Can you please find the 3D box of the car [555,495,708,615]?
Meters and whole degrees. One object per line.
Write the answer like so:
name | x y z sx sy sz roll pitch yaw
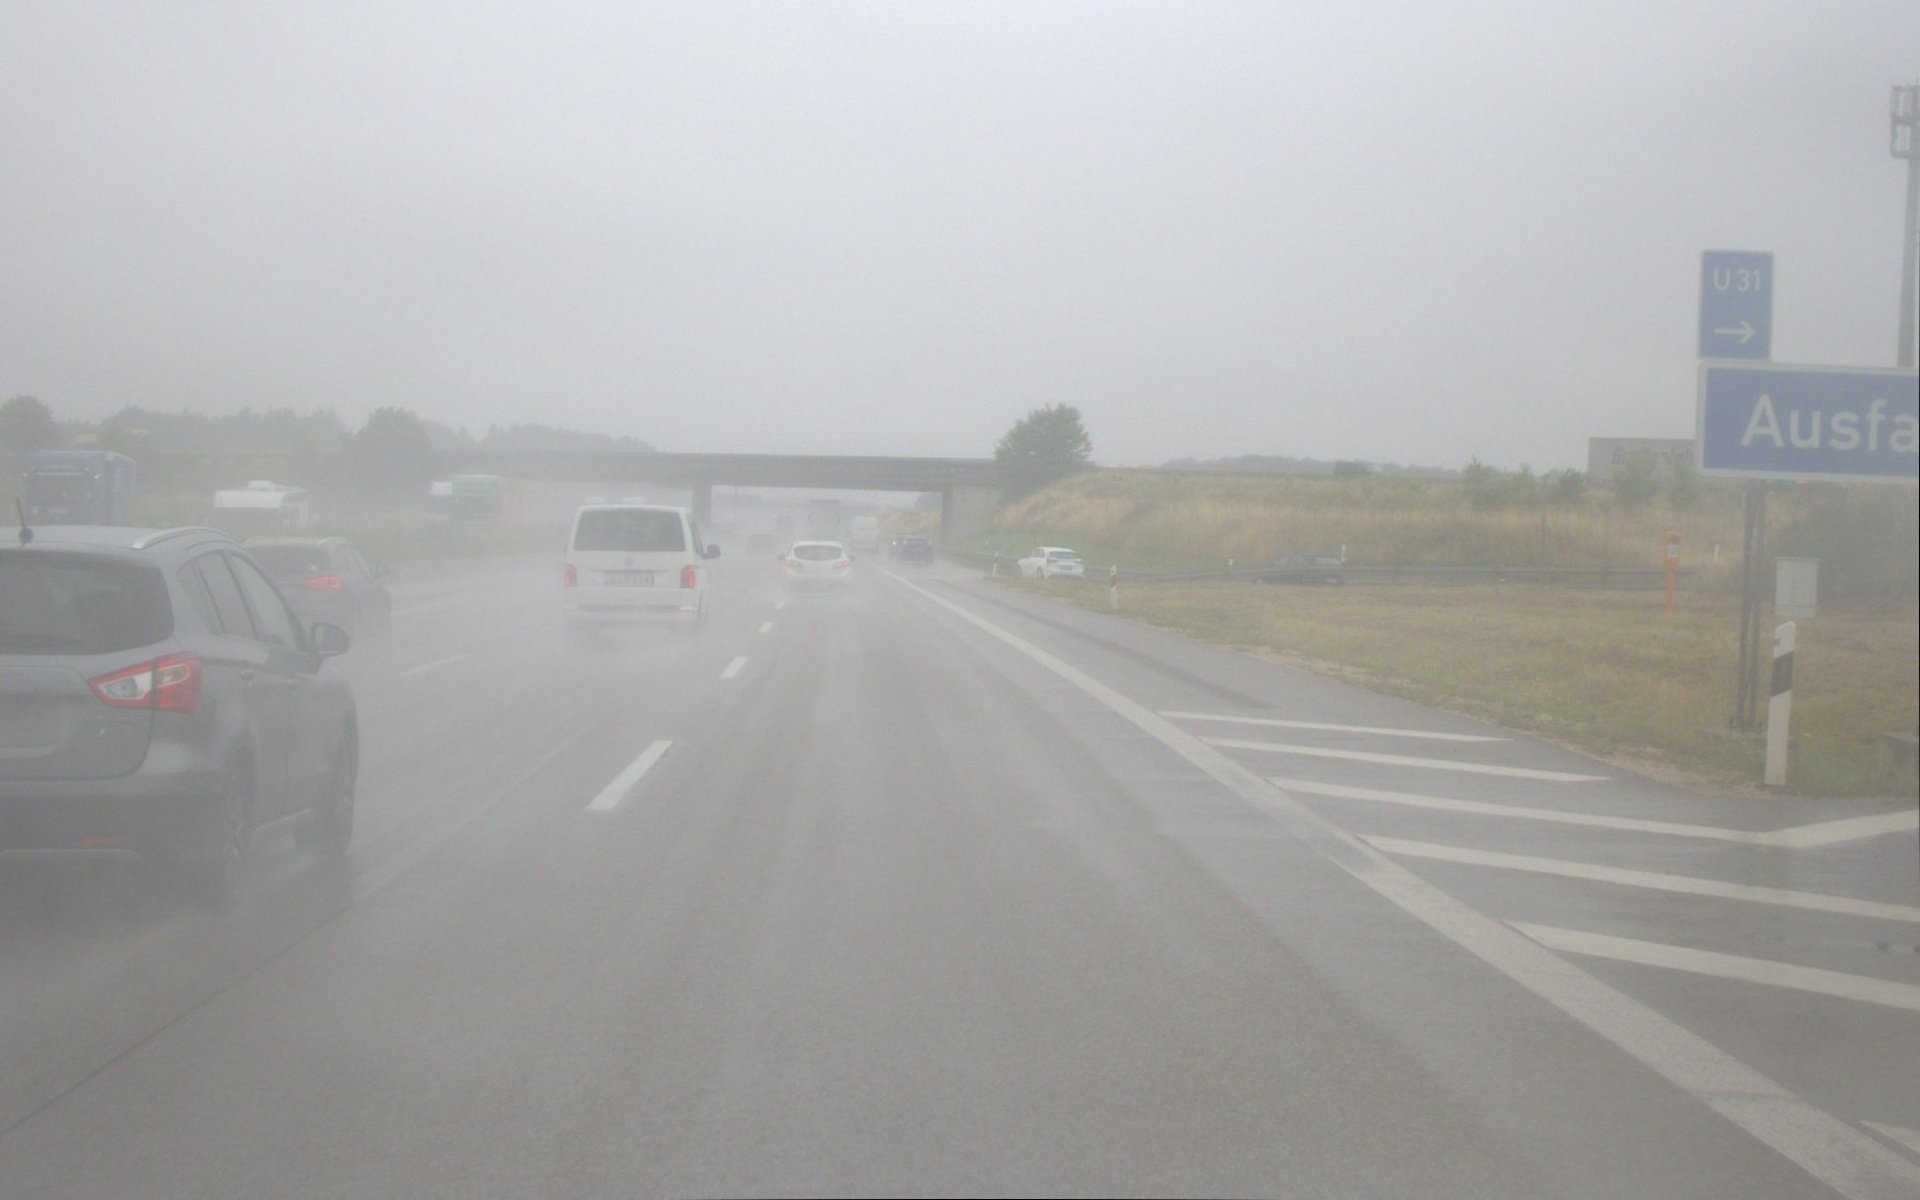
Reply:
car | -4.587 -0.638 48.498 1.897 1.580 4.000 1 1 -2

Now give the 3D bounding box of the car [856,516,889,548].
car | -6.083 -4.706 238.690 1.993 2.094 4.001 2 2 -5

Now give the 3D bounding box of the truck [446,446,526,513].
truck | -25.391 -6.432 184.485 3.265 3.429 10.131 0 1 -2

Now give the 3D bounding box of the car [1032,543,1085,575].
car | 3.985 -1.665 139.427 1.993 1.262 4.000 1 1 -1

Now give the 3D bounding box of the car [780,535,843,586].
car | -3.693 -0.999 85.733 1.468 1.204 2.992 2 1 -1

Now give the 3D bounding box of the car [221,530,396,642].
car | -8.424 -0.203 44.722 1.612 1.349 4.000 2 1 -2

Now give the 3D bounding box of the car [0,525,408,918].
car | -3.828 0.419 15.667 1.846 1.508 4.757 1 1 0
